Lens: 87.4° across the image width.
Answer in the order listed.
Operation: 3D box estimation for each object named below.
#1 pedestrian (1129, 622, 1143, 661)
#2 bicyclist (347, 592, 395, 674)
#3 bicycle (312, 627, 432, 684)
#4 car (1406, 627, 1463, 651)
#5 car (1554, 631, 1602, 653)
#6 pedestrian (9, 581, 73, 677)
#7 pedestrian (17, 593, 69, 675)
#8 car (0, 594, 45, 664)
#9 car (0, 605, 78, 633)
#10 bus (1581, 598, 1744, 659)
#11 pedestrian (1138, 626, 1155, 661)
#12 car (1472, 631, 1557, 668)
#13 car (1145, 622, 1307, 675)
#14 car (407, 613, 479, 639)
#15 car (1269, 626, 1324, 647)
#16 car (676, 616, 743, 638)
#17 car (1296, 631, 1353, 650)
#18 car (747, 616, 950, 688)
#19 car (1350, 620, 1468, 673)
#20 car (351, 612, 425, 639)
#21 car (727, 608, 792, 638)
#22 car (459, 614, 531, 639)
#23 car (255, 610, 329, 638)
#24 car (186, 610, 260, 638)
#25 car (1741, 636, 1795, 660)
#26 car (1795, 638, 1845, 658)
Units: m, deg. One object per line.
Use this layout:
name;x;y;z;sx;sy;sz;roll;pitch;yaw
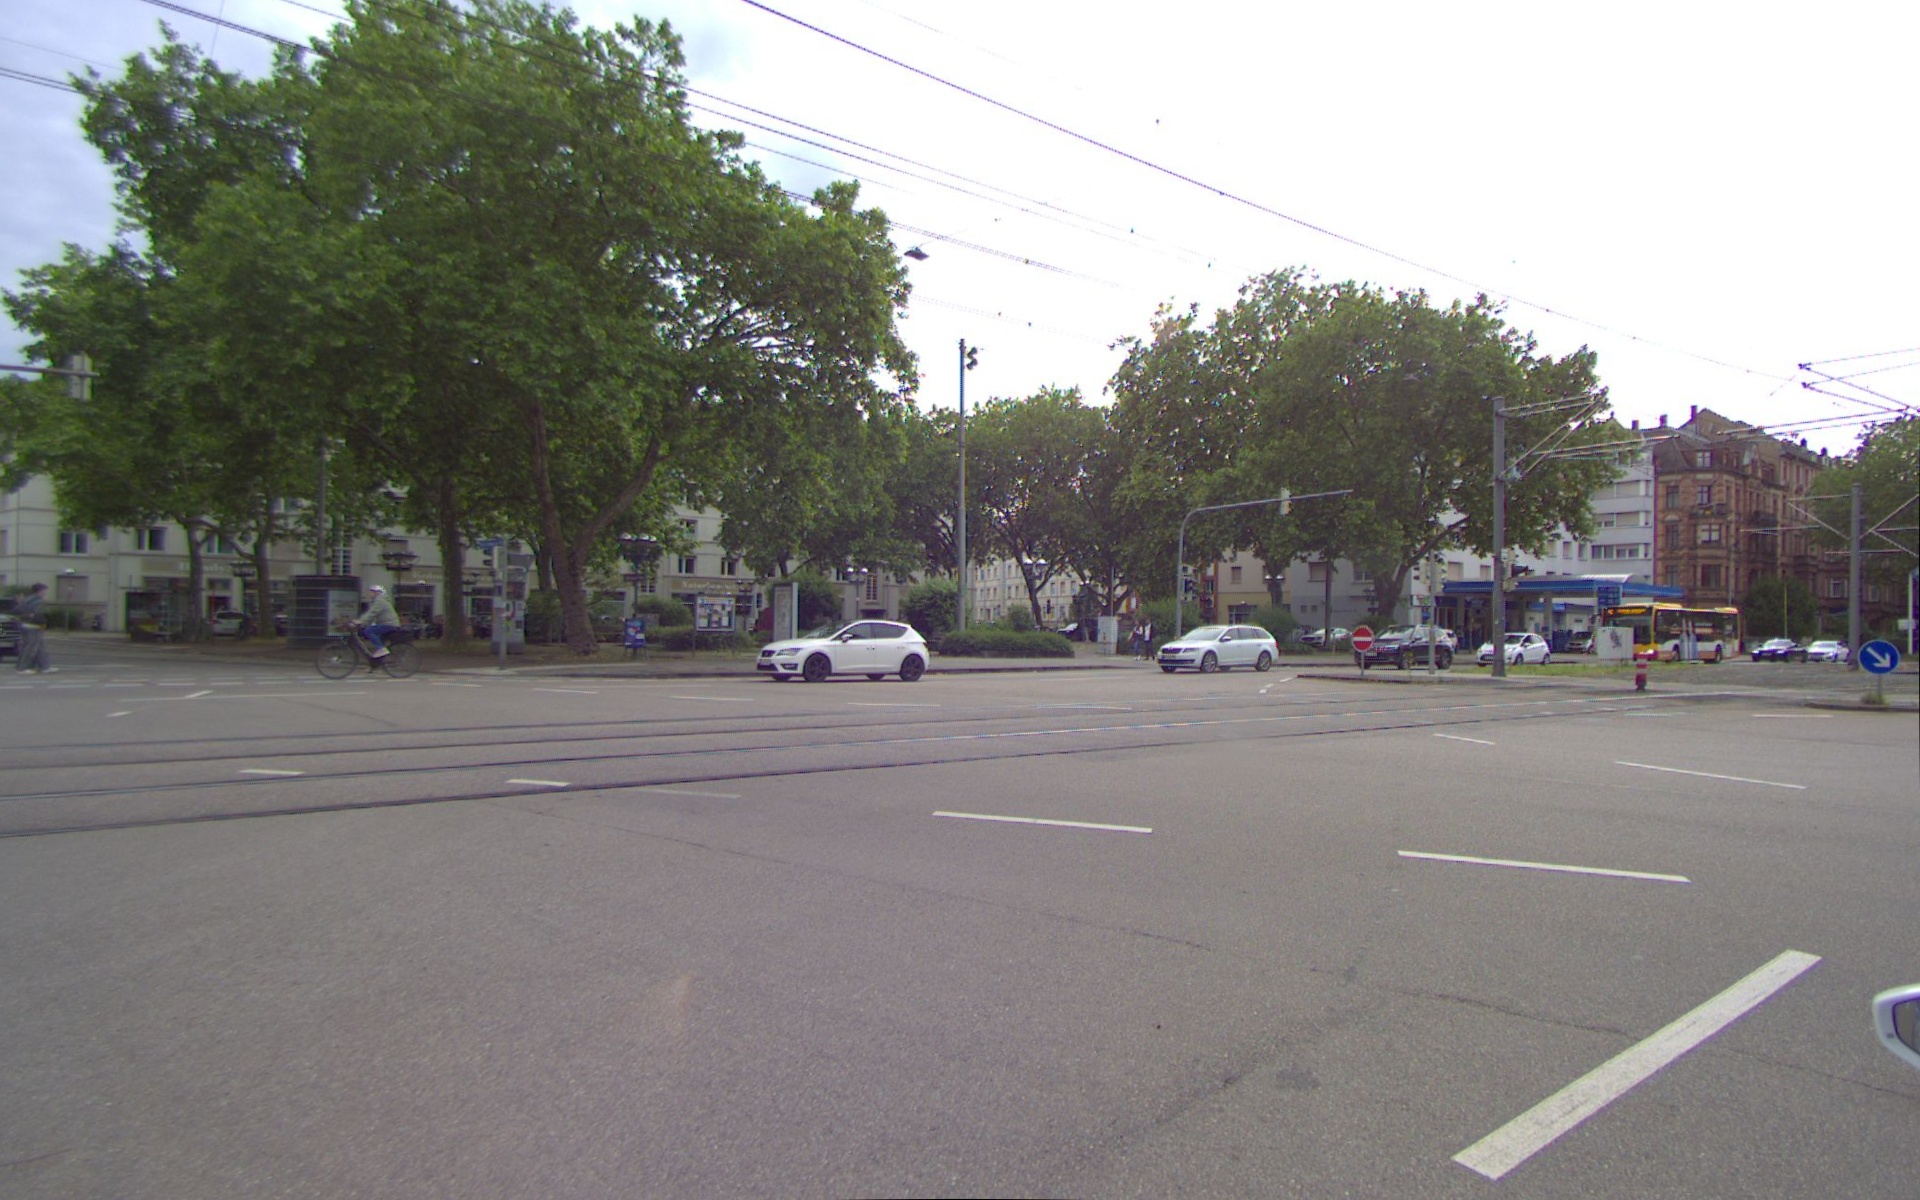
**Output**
pedestrian;6.820;1.607;38.936;0.371;1.498;0.357;1;-1;-42
bicyclist;-11.656;0.656;19.874;0.749;1.582;0.579;1;-3;-36
bicycle;-11.659;1.089;19.947;1.974;1.078;0.722;2;-3;-36
car;28.690;2.354;60.712;3.371;1.377;1.691;2;0;-36
car;43.553;2.953;70.746;3.371;1.377;1.691;2;0;-36
pedestrian;-18.811;0.588;20.567;0.675;1.911;0.689;2;0;20
pedestrian;-19.673;0.717;21.567;0.750;1.712;0.797;1;-1;-40
car;-25.139;0.792;26.119;1.899;1.741;3.694;2;-3;-42
car;-52.414;1.044;56.587;3.919;1.506;1.803;1;-1;4
bus;37.763;1.540;53.714;12.259;2.894;3.259;2;0;-36
pedestrian;7.199;1.679;38.705;0.466;1.343;0.451;1;-1;-42
car;23.596;2.098;42.711;3.852;1.416;1.691;2;0;-36
car;8.444;1.503;31.665;5.648;1.545;1.828;2;-2;-36
car;-30.902;1.534;60.016;4.756;1.408;1.992;0;-1;38
car;23.544;2.538;70.321;3.852;1.377;1.691;2;0;-36
car;-17.593;1.878;70.404;4.756;1.408;2.075;0;-1;38
car;24.499;2.727;67.433;3.971;1.190;1.716;2;-1;-36
car;-2.536;1.164;23.391;4.371;1.467;1.829;2;0;-36
car;16.867;1.734;37.648;5.099;1.807;1.691;2;0;-36
car;-32.728;1.433;57.416;4.756;1.408;1.992;0;-1;38
car;-14.838;1.664;74.200;4.756;2.129;2.075;0;-1;38
car;-28.559;1.622;61.664;4.756;1.408;2.075;0;-1;38
car;-36.832;1.312;55.369;4.756;1.408;1.992;0;-1;38
car;-39.508;1.271;53.820;4.756;1.408;1.992;0;-1;38
car;50.948;2.994;63.311;3.852;1.377;1.691;2;0;-36
car;58.081;3.248;67.830;3.852;1.237;1.691;2;0;-36
